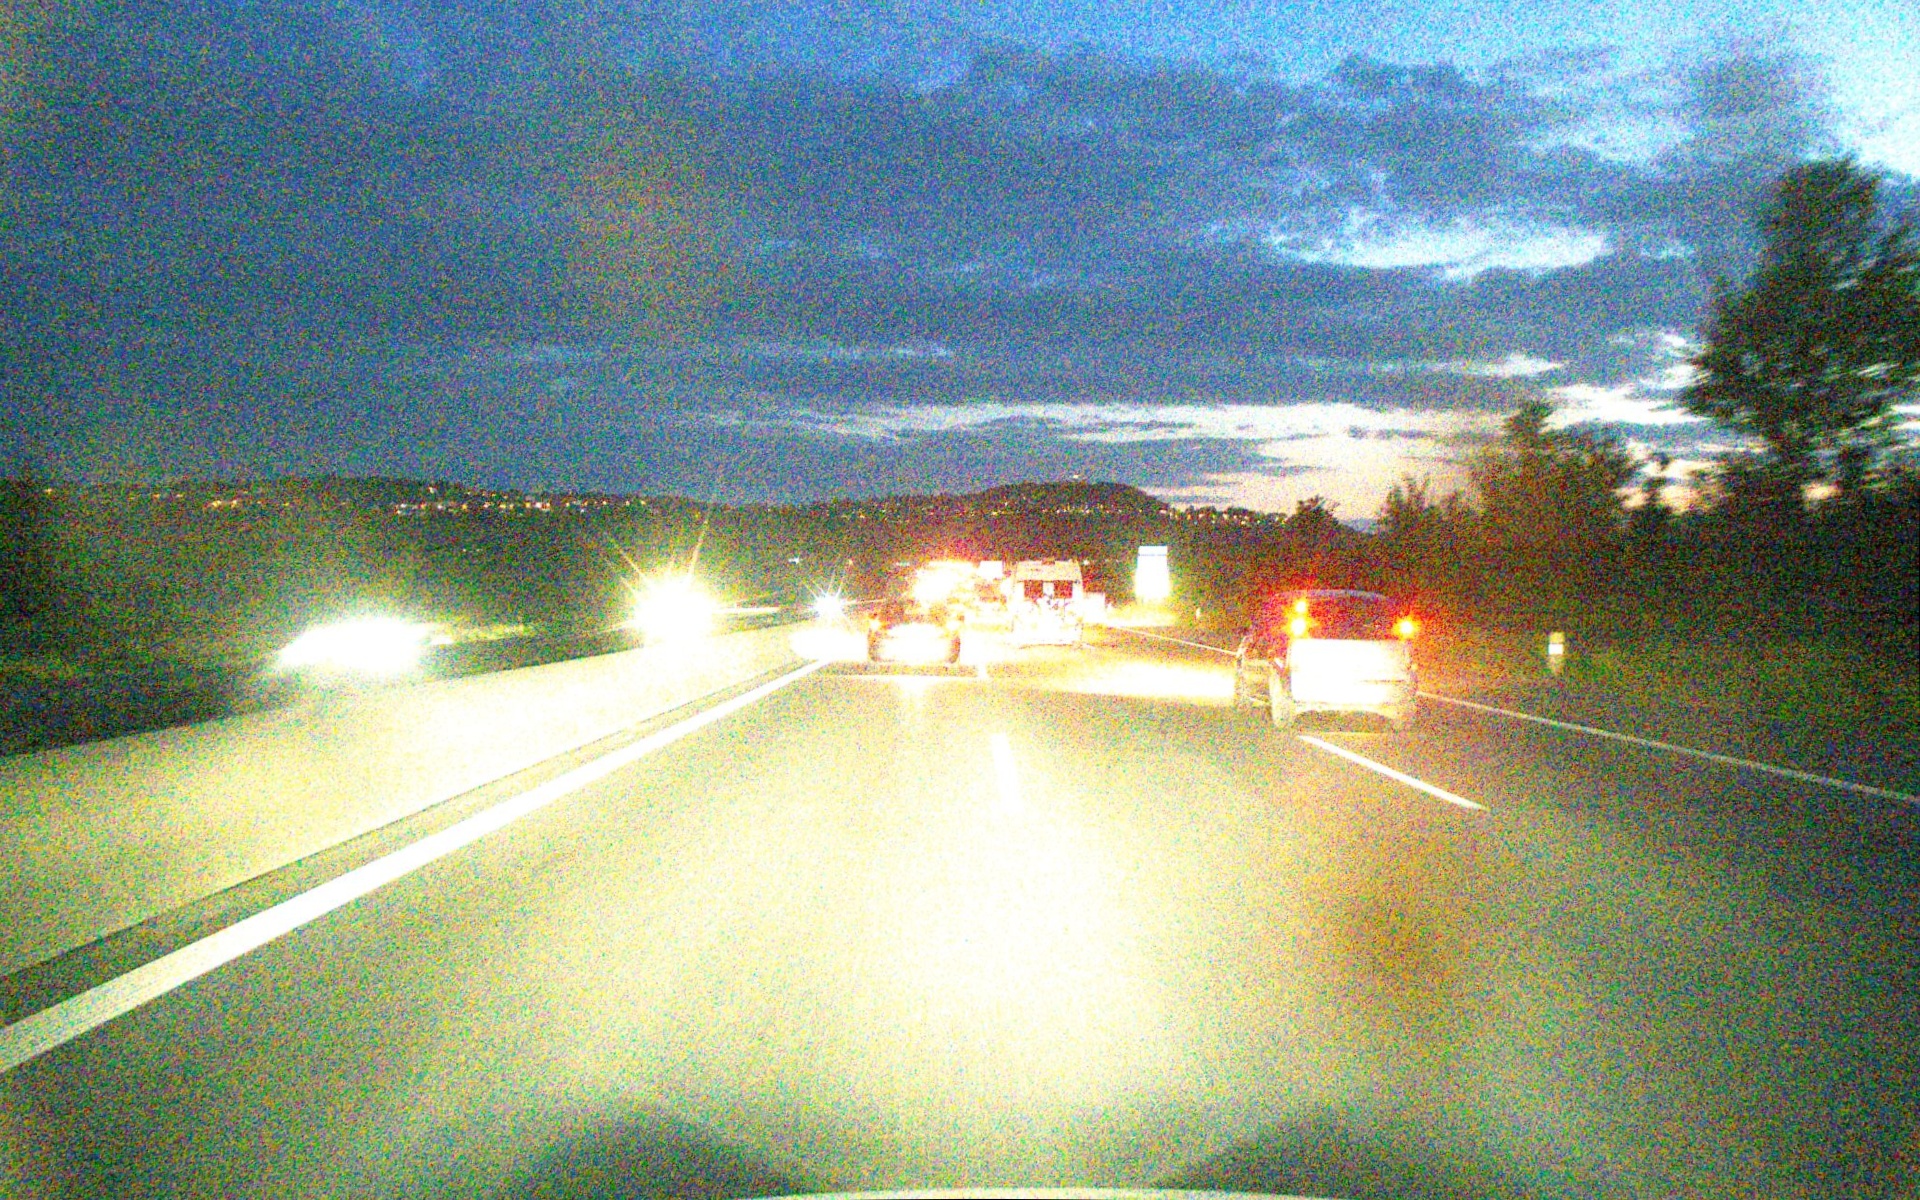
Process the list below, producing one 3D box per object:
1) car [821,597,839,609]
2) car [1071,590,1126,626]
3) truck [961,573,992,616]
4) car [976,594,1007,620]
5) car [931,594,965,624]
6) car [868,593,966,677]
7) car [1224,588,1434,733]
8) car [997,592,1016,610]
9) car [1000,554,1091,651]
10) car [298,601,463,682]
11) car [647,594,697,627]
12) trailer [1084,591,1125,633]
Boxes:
[{"bbox_3d":[-16.791,0.425,214.104,1.953,1.444,4.981,-3,0,-2],"label":"car"},{"bbox_3d":[6.229,0.334,74.711,2.118,1.591,4.723,0,0,0],"label":"car"},{"bbox_3d":[1.578,-0.518,160.290,2.724,4.024,7.991,-1,0,-1],"label":"truck"},{"bbox_3d":[2.370,0.508,125.496,2.303,1.947,4.723,-1,0,0],"label":"car"},{"bbox_3d":[-0.605,0.429,85.671,1.709,1.465,4.368,-1,1,0],"label":"car"},{"bbox_3d":[-0.769,0.623,31.884,1.757,1.494,3.773,0,1,0],"label":"car"},{"bbox_3d":[4.533,0.680,20.961,1.612,1.624,4.509,0,0,-1],"label":"car"},{"bbox_3d":[5.854,0.121,208.528,2.303,2.112,4.723,-1,1,0],"label":"car"},{"bbox_3d":[2.376,0.036,47.502,2.303,2.579,5.701,-1,1,0],"label":"car"},{"bbox_3d":[-13.182,0.891,38.027,1.864,1.671,5.298,-1,0,0],"label":"car"},{"bbox_3d":[-16.845,0.602,96.878,2.003,1.750,4.775,-3,0,0],"label":"car"},{"bbox_3d":[6.185,0.498,71.075,1.534,1.723,2.821,-1,0,0],"label":"trailer"}]
